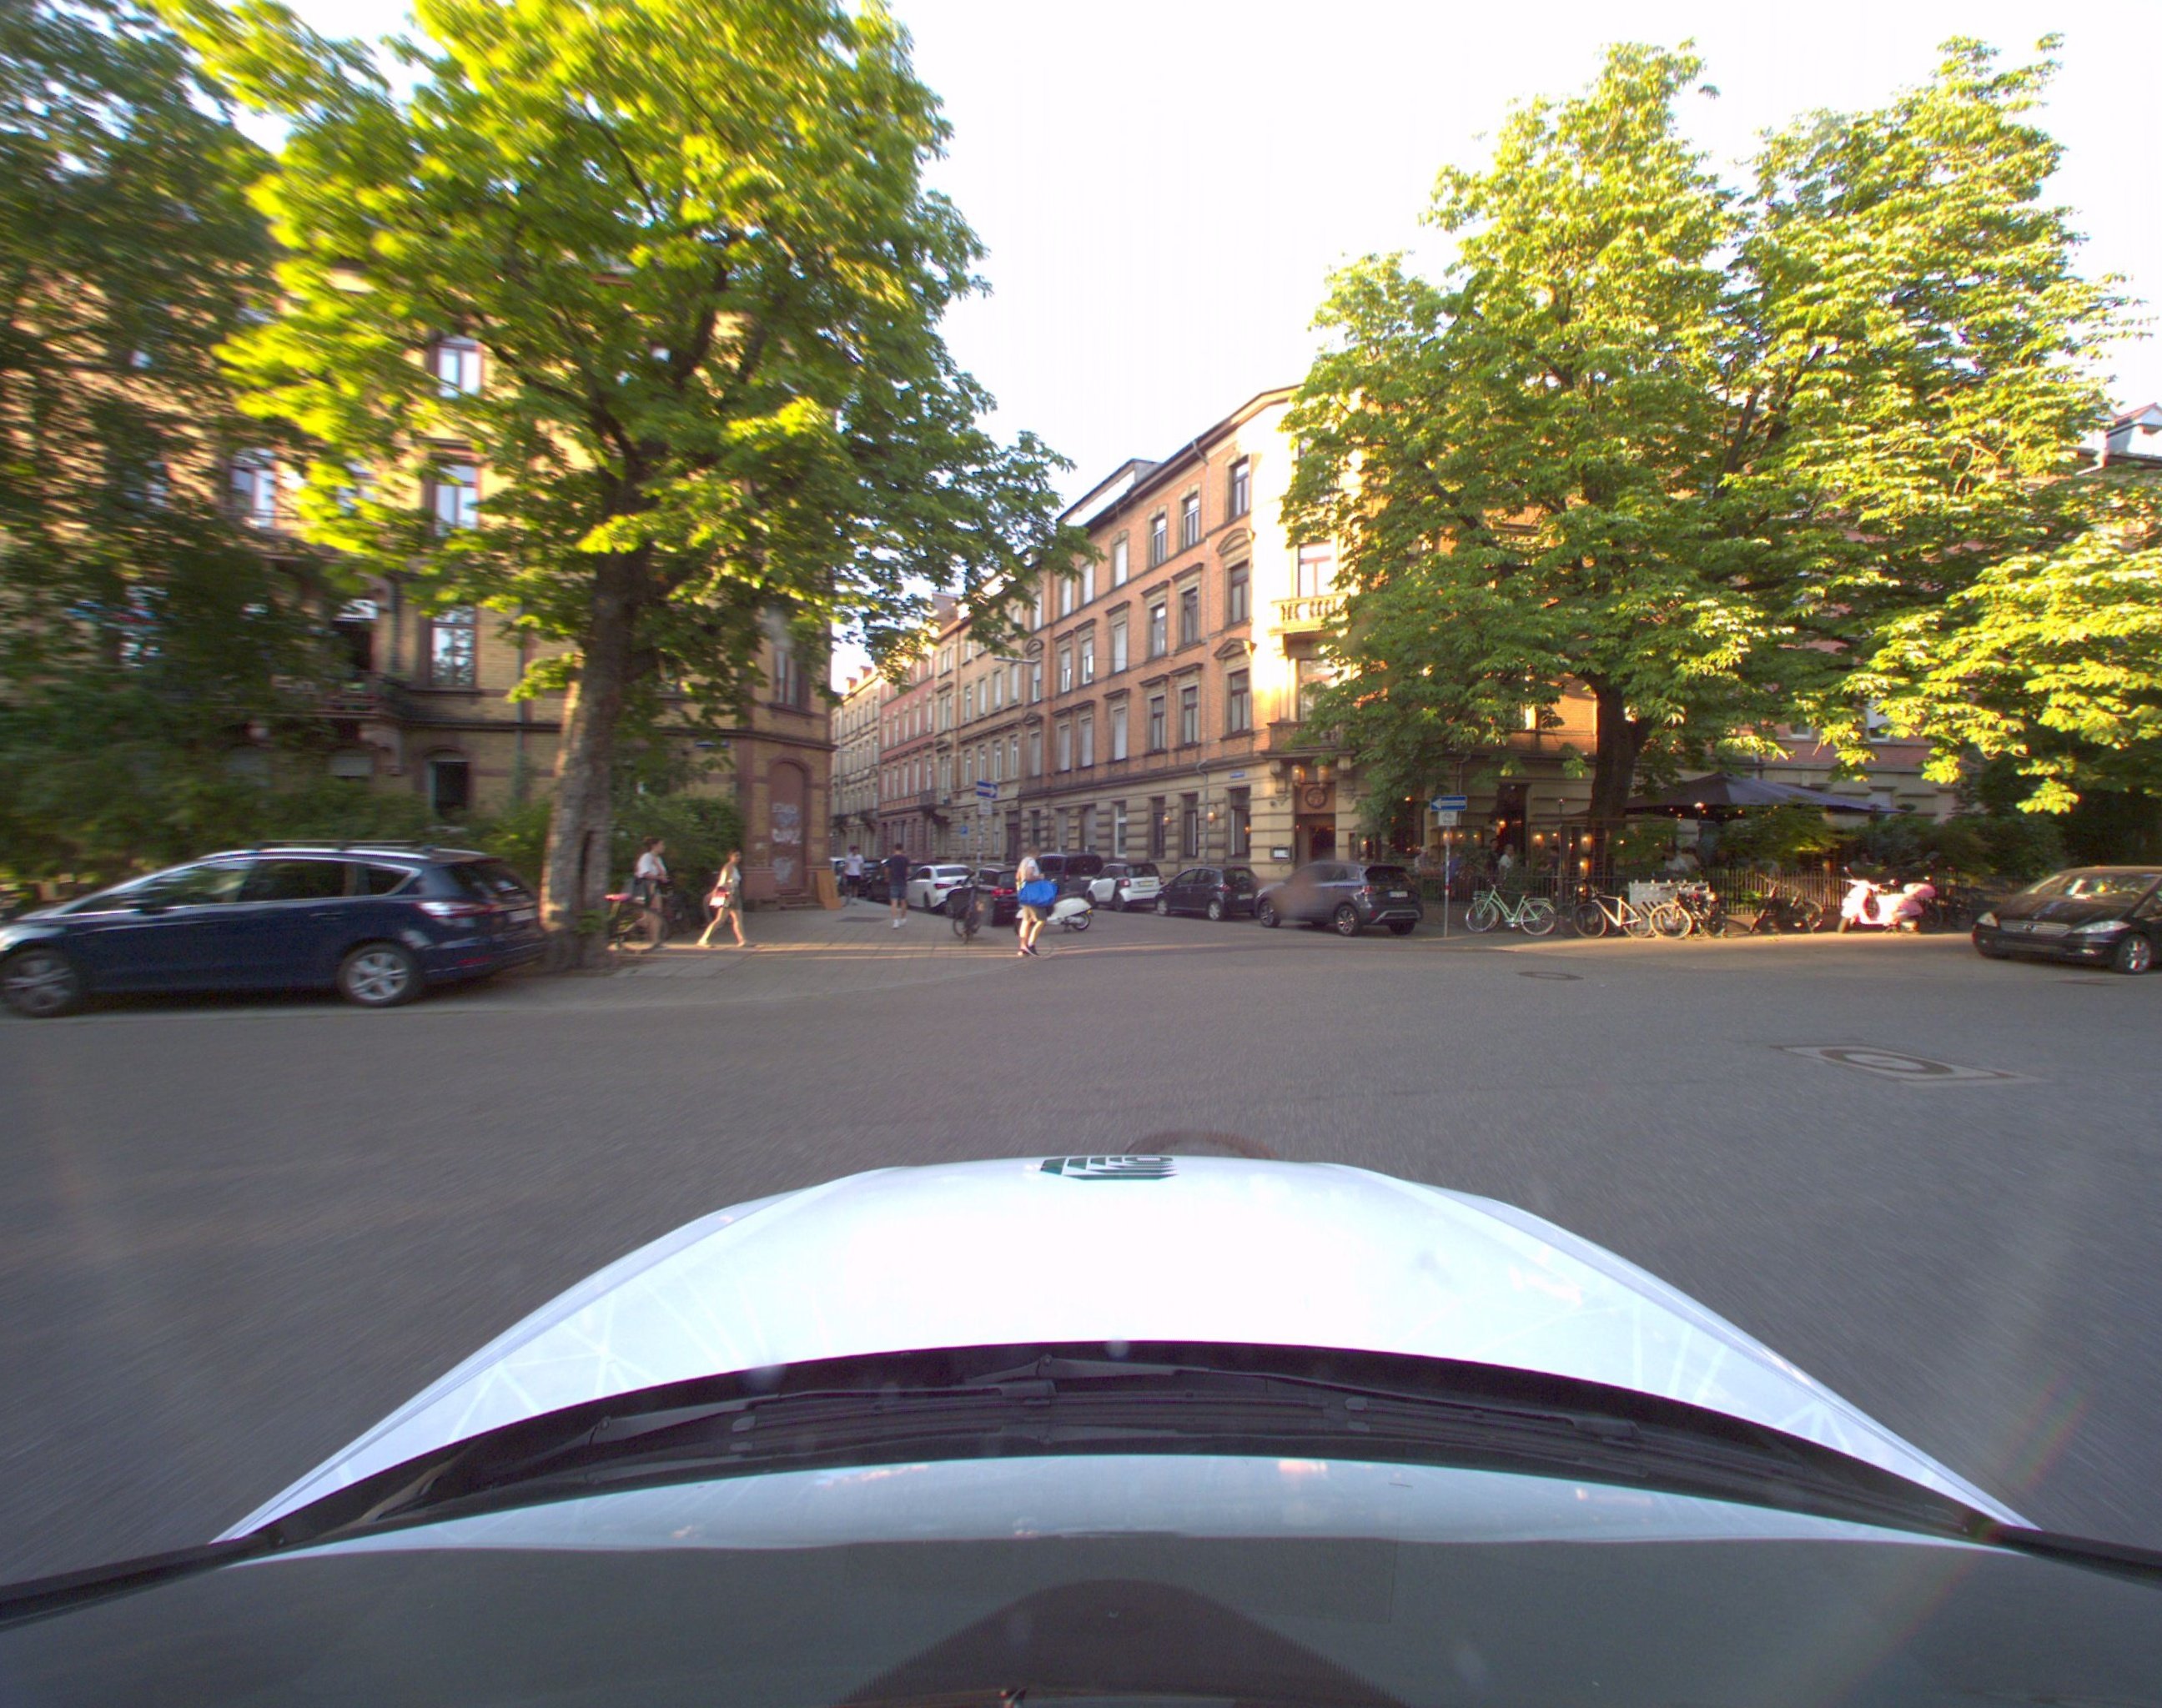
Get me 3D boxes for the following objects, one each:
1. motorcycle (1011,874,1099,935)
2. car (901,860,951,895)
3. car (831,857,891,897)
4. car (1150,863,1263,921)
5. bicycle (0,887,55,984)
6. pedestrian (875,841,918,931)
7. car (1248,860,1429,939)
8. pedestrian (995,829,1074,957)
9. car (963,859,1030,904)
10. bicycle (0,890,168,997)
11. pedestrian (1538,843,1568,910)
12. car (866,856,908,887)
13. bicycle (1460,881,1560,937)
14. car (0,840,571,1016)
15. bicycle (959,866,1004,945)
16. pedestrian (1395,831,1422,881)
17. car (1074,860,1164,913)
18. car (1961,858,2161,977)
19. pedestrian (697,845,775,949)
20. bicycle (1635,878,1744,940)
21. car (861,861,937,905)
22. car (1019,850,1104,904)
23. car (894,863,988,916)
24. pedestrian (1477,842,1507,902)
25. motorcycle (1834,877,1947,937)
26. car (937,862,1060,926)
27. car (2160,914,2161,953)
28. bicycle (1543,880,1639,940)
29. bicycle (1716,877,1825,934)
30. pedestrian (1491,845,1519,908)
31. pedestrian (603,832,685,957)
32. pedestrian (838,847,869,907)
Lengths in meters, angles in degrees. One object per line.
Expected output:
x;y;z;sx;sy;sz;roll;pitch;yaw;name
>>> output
-0.564;1.070;17.594;1.856;1.257;0.471;-1;-1;-11;motorcycle
-8.393;1.232;43.975;1.693;1.823;3.456;0;-1;-28;car
-9.417;0.939;34.630;1.583;1.572;4.081;0;-1;-28;car
3.432;0.998;22.811;1.471;1.458;3.303;0;0;-28;car
-13.396;0.948;9.451;1.807;1.093;0.602;0;1;-17;bicycle
-3.931;0.668;17.419;0.684;1.823;0.791;4;0;-6;pedestrian
5.610;0.931;18.225;1.637;1.545;3.823;0;-1;-27;car
-0.769;0.619;13.444;1.012;2.014;0.861;1;-2;-29;pedestrian
-3.711;1.157;35.254;1.693;1.823;3.456;0;-1;-28;car
-11.991;1.010;9.702;0.605;1.036;1.799;1;2;-16;bicycle
10.445;0.489;18.014;0.466;1.451;0.424;0;-1;-40;pedestrian
-11.832;1.060;49.520;1.693;1.823;3.456;0;-1;-28;car
9.028;1.132;17.195;1.806;1.098;0.395;-1;-1;43;bicycle
-8.594;0.702;9.040;4.576;1.687;1.866;0;0;-10;car
-1.878;0.944;15.550;0.514;1.392;1.801;2;0;2;bicycle
9.483;0.065;23.567;0.464;1.412;0.520;0;-1;-23;pedestrian
1.169;1.009;26.438;1.470;1.594;3.304;0;-1;-27;car
16.708;0.942;13.081;3.834;1.677;1.664;0;2;-10;car
-5.696;0.689;13.447;1.057;1.630;0.680;1;-2;-35;pedestrian
12.150;1.087;16.264;1.947;1.185;0.392;1;2;-6;bicycle
-6.676;1.000;29.555;1.583;1.458;4.384;0;-1;-28;car
-0.772;0.810;29.832;1.693;1.823;3.456;0;-1;-28;car
-4.450;1.040;25.358;1.583;1.458;4.384;0;-1;-28;car
10.581;0.459;20.967;0.466;1.520;0.518;0;-1;-40;pedestrian
16.947;1.108;17.067;1.943;1.185;0.392;1;1;1;motorcycle
-2.237;0.950;21.042;1.792;1.458;3.981;0;-1;-28;car
21.014;1.042;13.864;3.698;1.493;1.664;0;2;-10;car
10.274;1.112;16.416;1.737;1.144;0.392;-1;-2;-6;bicycle
14.641;1.087;17.313;1.943;1.143;0.393;1;2;1;bicycle
9.832;0.517;18.881;0.466;1.451;0.424;0;-1;-40;pedestrian
-6.718;0.610;12.522;1.013;1.835;0.680;1;-2;-35;pedestrian
-7.263;0.714;25.989;0.780;1.823;0.919;4;0;-20;pedestrian
